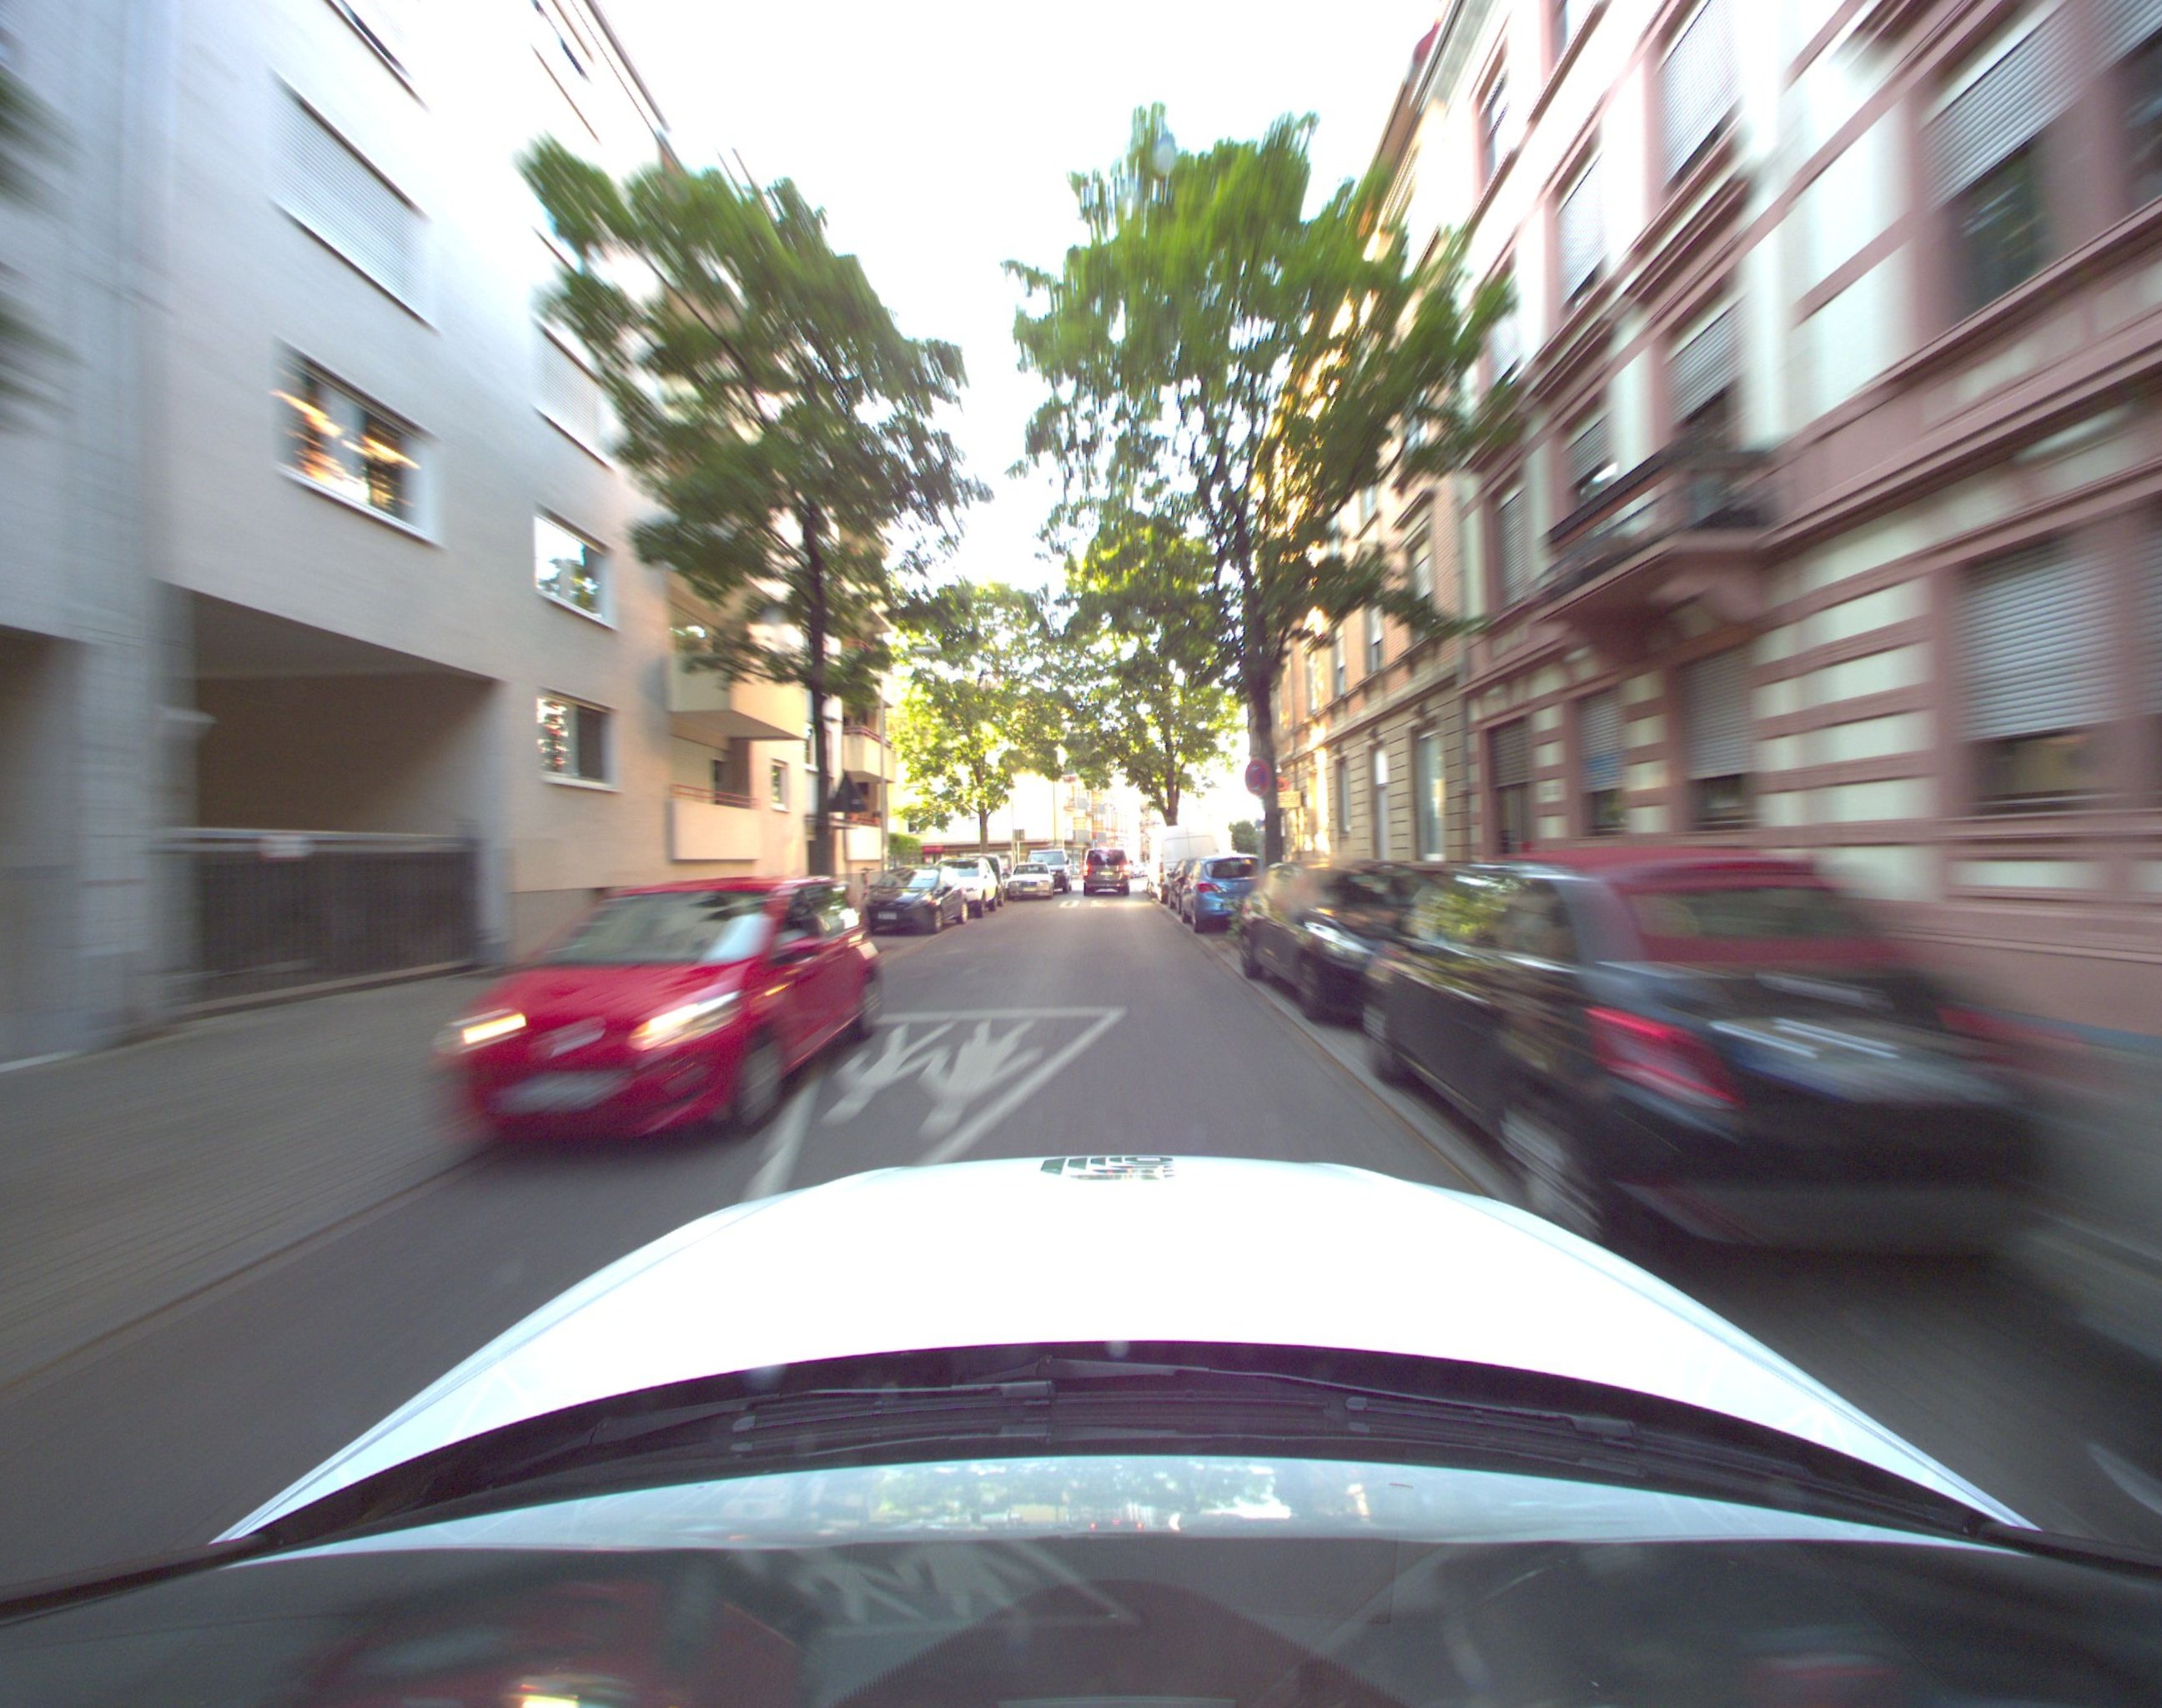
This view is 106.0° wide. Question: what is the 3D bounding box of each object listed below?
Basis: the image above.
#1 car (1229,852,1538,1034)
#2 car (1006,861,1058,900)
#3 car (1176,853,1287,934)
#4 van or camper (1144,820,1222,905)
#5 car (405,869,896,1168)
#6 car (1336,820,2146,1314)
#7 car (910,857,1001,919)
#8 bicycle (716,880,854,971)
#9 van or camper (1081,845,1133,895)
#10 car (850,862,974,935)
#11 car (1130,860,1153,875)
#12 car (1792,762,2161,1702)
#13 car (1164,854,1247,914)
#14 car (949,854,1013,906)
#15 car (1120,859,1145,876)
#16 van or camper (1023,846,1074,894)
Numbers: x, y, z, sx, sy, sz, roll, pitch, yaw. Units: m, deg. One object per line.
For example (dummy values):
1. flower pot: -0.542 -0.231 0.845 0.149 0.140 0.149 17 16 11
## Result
1. car: 2.801 0.729 8.501 1.710 1.403 3.811 -2 0 -1
2. car: -1.880 0.997 32.094 1.735 1.404 3.375 -2 0 1
3. car: 3.034 0.756 17.130 1.743 1.471 3.777 -1 0 2
4. van or camper: 3.404 0.270 28.115 1.987 2.599 5.424 -1 0 0
5. car: -2.615 0.874 5.954 1.625 1.430 3.542 -2 0 0
6. car: 2.579 0.670 4.323 1.544 1.496 3.615 -1 0 4
7. car: -3.503 0.897 23.568 1.890 1.637 4.157 0 0 1
8. bicycle: -4.365 1.010 12.105 1.839 1.195 0.597 0 0 -44
9. van or camper: 1.157 0.647 34.318 2.026 1.897 4.274 -1 0 3
10. car: -3.757 0.940 18.735 1.731 1.484 3.844 0 0 5
11. car: 6.409 1.407 85.476 1.783 1.420 3.761 -2 0 13
12. car: 2.566 0.589 0.105 1.606 1.559 3.765 -3 0 0
13. car: 3.330 0.767 22.384 1.744 1.471 3.776 -1 0 1
14. car: -3.422 0.869 28.395 1.735 1.712 3.375 0 0 1
15. car: 5.038 1.289 79.884 1.783 1.578 3.761 -2 0 13
16. van or camper: -1.405 0.714 37.193 1.854 1.983 4.274 -2 0 3
